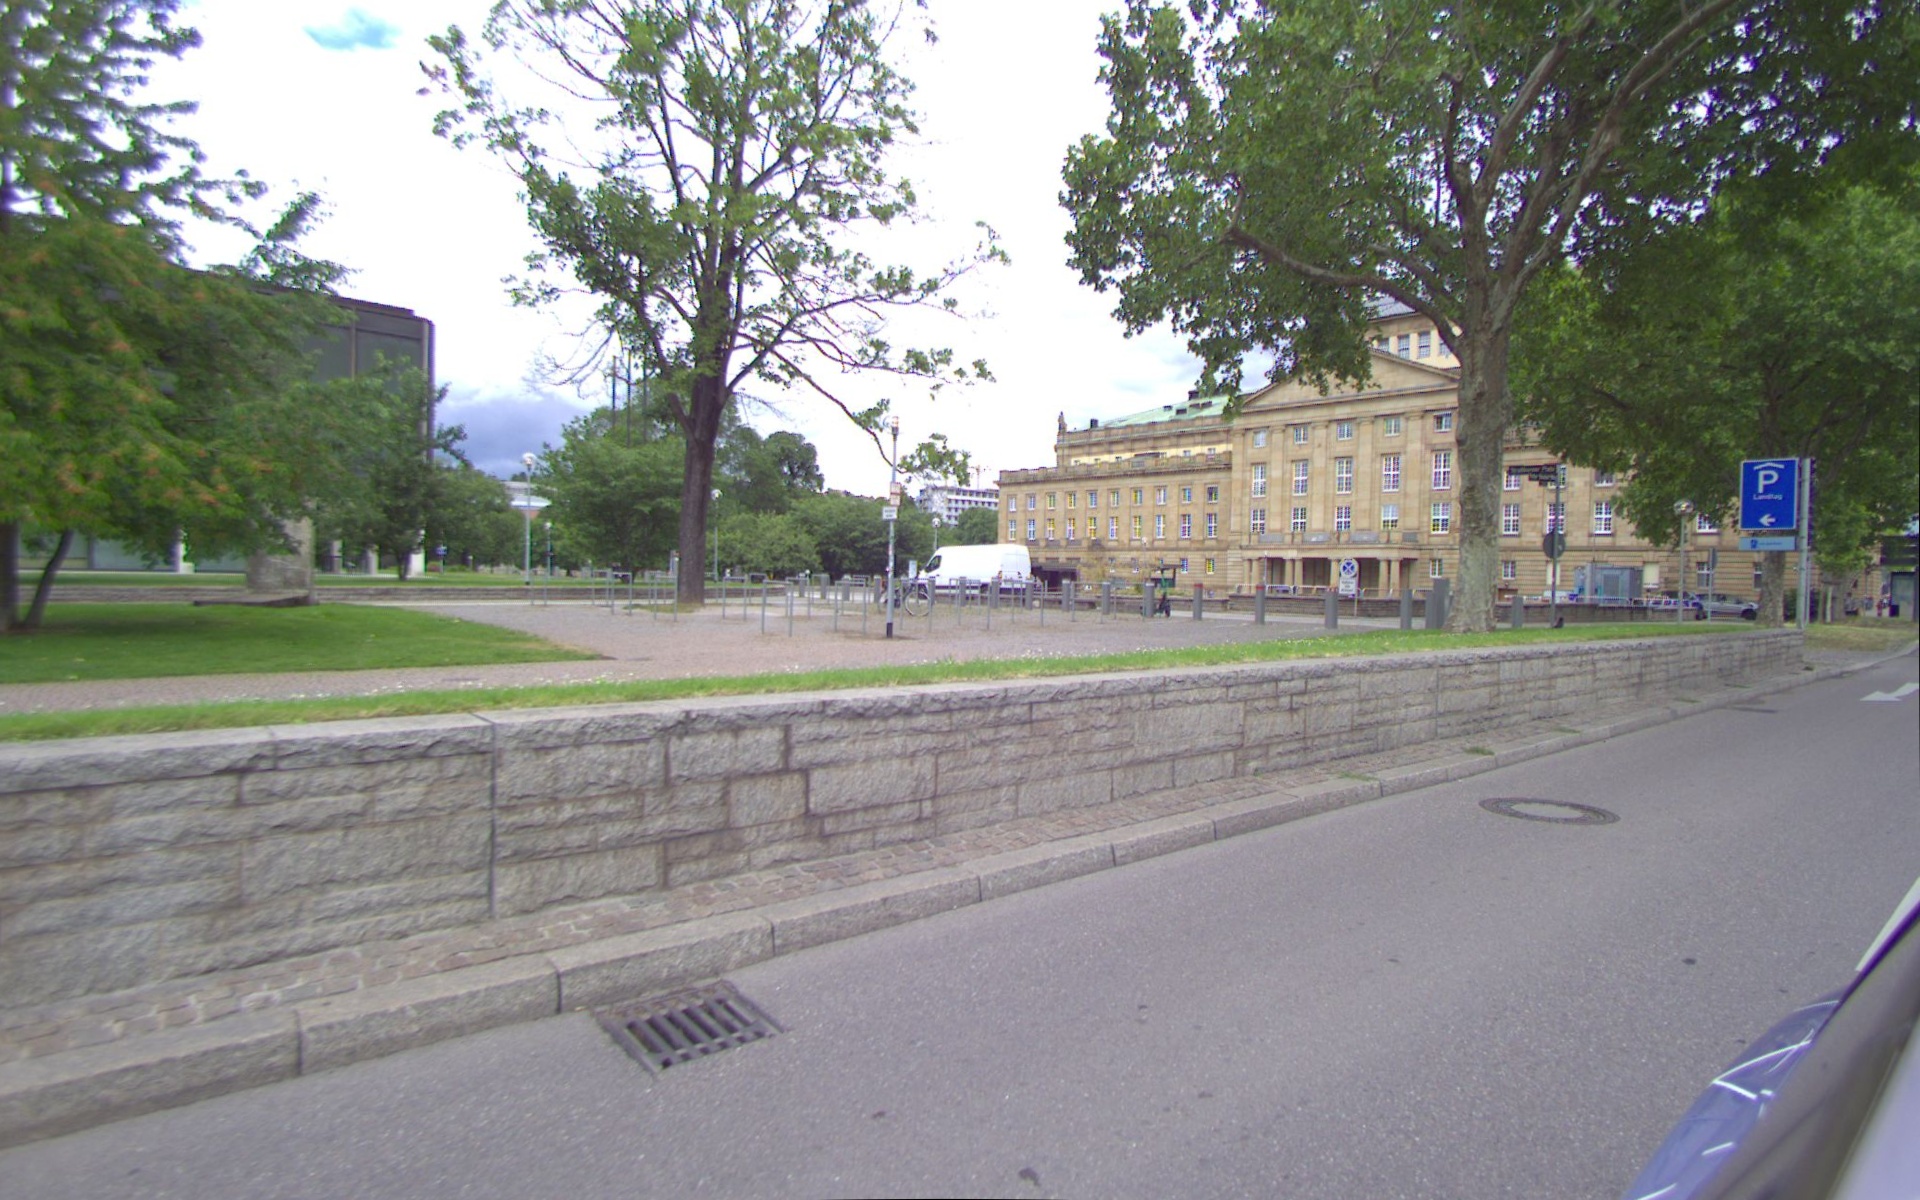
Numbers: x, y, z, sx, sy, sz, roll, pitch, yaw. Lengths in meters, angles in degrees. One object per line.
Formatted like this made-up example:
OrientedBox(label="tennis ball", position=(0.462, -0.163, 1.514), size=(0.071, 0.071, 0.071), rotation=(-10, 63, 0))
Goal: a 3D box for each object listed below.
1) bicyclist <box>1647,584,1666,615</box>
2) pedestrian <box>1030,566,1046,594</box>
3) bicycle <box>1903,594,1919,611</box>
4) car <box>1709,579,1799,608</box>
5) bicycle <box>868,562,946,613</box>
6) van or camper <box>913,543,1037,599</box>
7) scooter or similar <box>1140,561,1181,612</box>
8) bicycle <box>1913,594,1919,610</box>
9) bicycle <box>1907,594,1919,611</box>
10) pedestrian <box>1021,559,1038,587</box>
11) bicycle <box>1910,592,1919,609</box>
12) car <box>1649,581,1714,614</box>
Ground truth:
OrientedBox(label="bicyclist", position=(46.788, -0.014, 68.002), size=(0.868, 2.039, 0.838), rotation=(-1, 0, 22))
OrientedBox(label="pedestrian", position=(5.709, -1.469, 73.941), size=(0.800, 2.039, 0.768), rotation=(-2, 0, -33))
OrientedBox(label="bicycle", position=(64.289, 0.159, 67.548), size=(1.910, 1.112, 0.533), rotation=(2, 1, 40))
OrientedBox(label="car", position=(46.589, -0.347, 59.437), size=(1.706, 1.616, 3.989), rotation=(-1, 0, -44))
OrientedBox(label="bicycle", position=(-1.329, -0.324, 24.730), size=(0.674, 1.155, 2.196), rotation=(0, 2, -41))
OrientedBox(label="van or camper", position=(0.577, -1.271, 45.078), size=(2.281, 2.348, 5.705), rotation=(-2, 2, -42))
OrientedBox(label="scooter or similar", position=(5.029, -0.339, 25.373), size=(0.716, 1.262, 0.717), rotation=(-1, 1, -43))
OrientedBox(label="bicycle", position=(66.306, 0.148, 69.027), size=(1.824, 1.085, 0.527), rotation=(2, 1, 28))
OrientedBox(label="bicycle", position=(64.849, 0.183, 67.920), size=(1.833, 1.085, 0.610), rotation=(2, 1, 40))
OrientedBox(label="pedestrian", position=(5.130, -1.972, 74.726), size=(0.800, 2.039, 0.859), rotation=(-2, 0, -34))
OrientedBox(label="bicycle", position=(67.302, 0.059, 70.231), size=(1.919, 1.146, 0.536), rotation=(2, 1, 28))
OrientedBox(label="car", position=(36.866, -0.102, 51.686), size=(4.143, 1.537, 1.767), rotation=(2, 0, -41))
